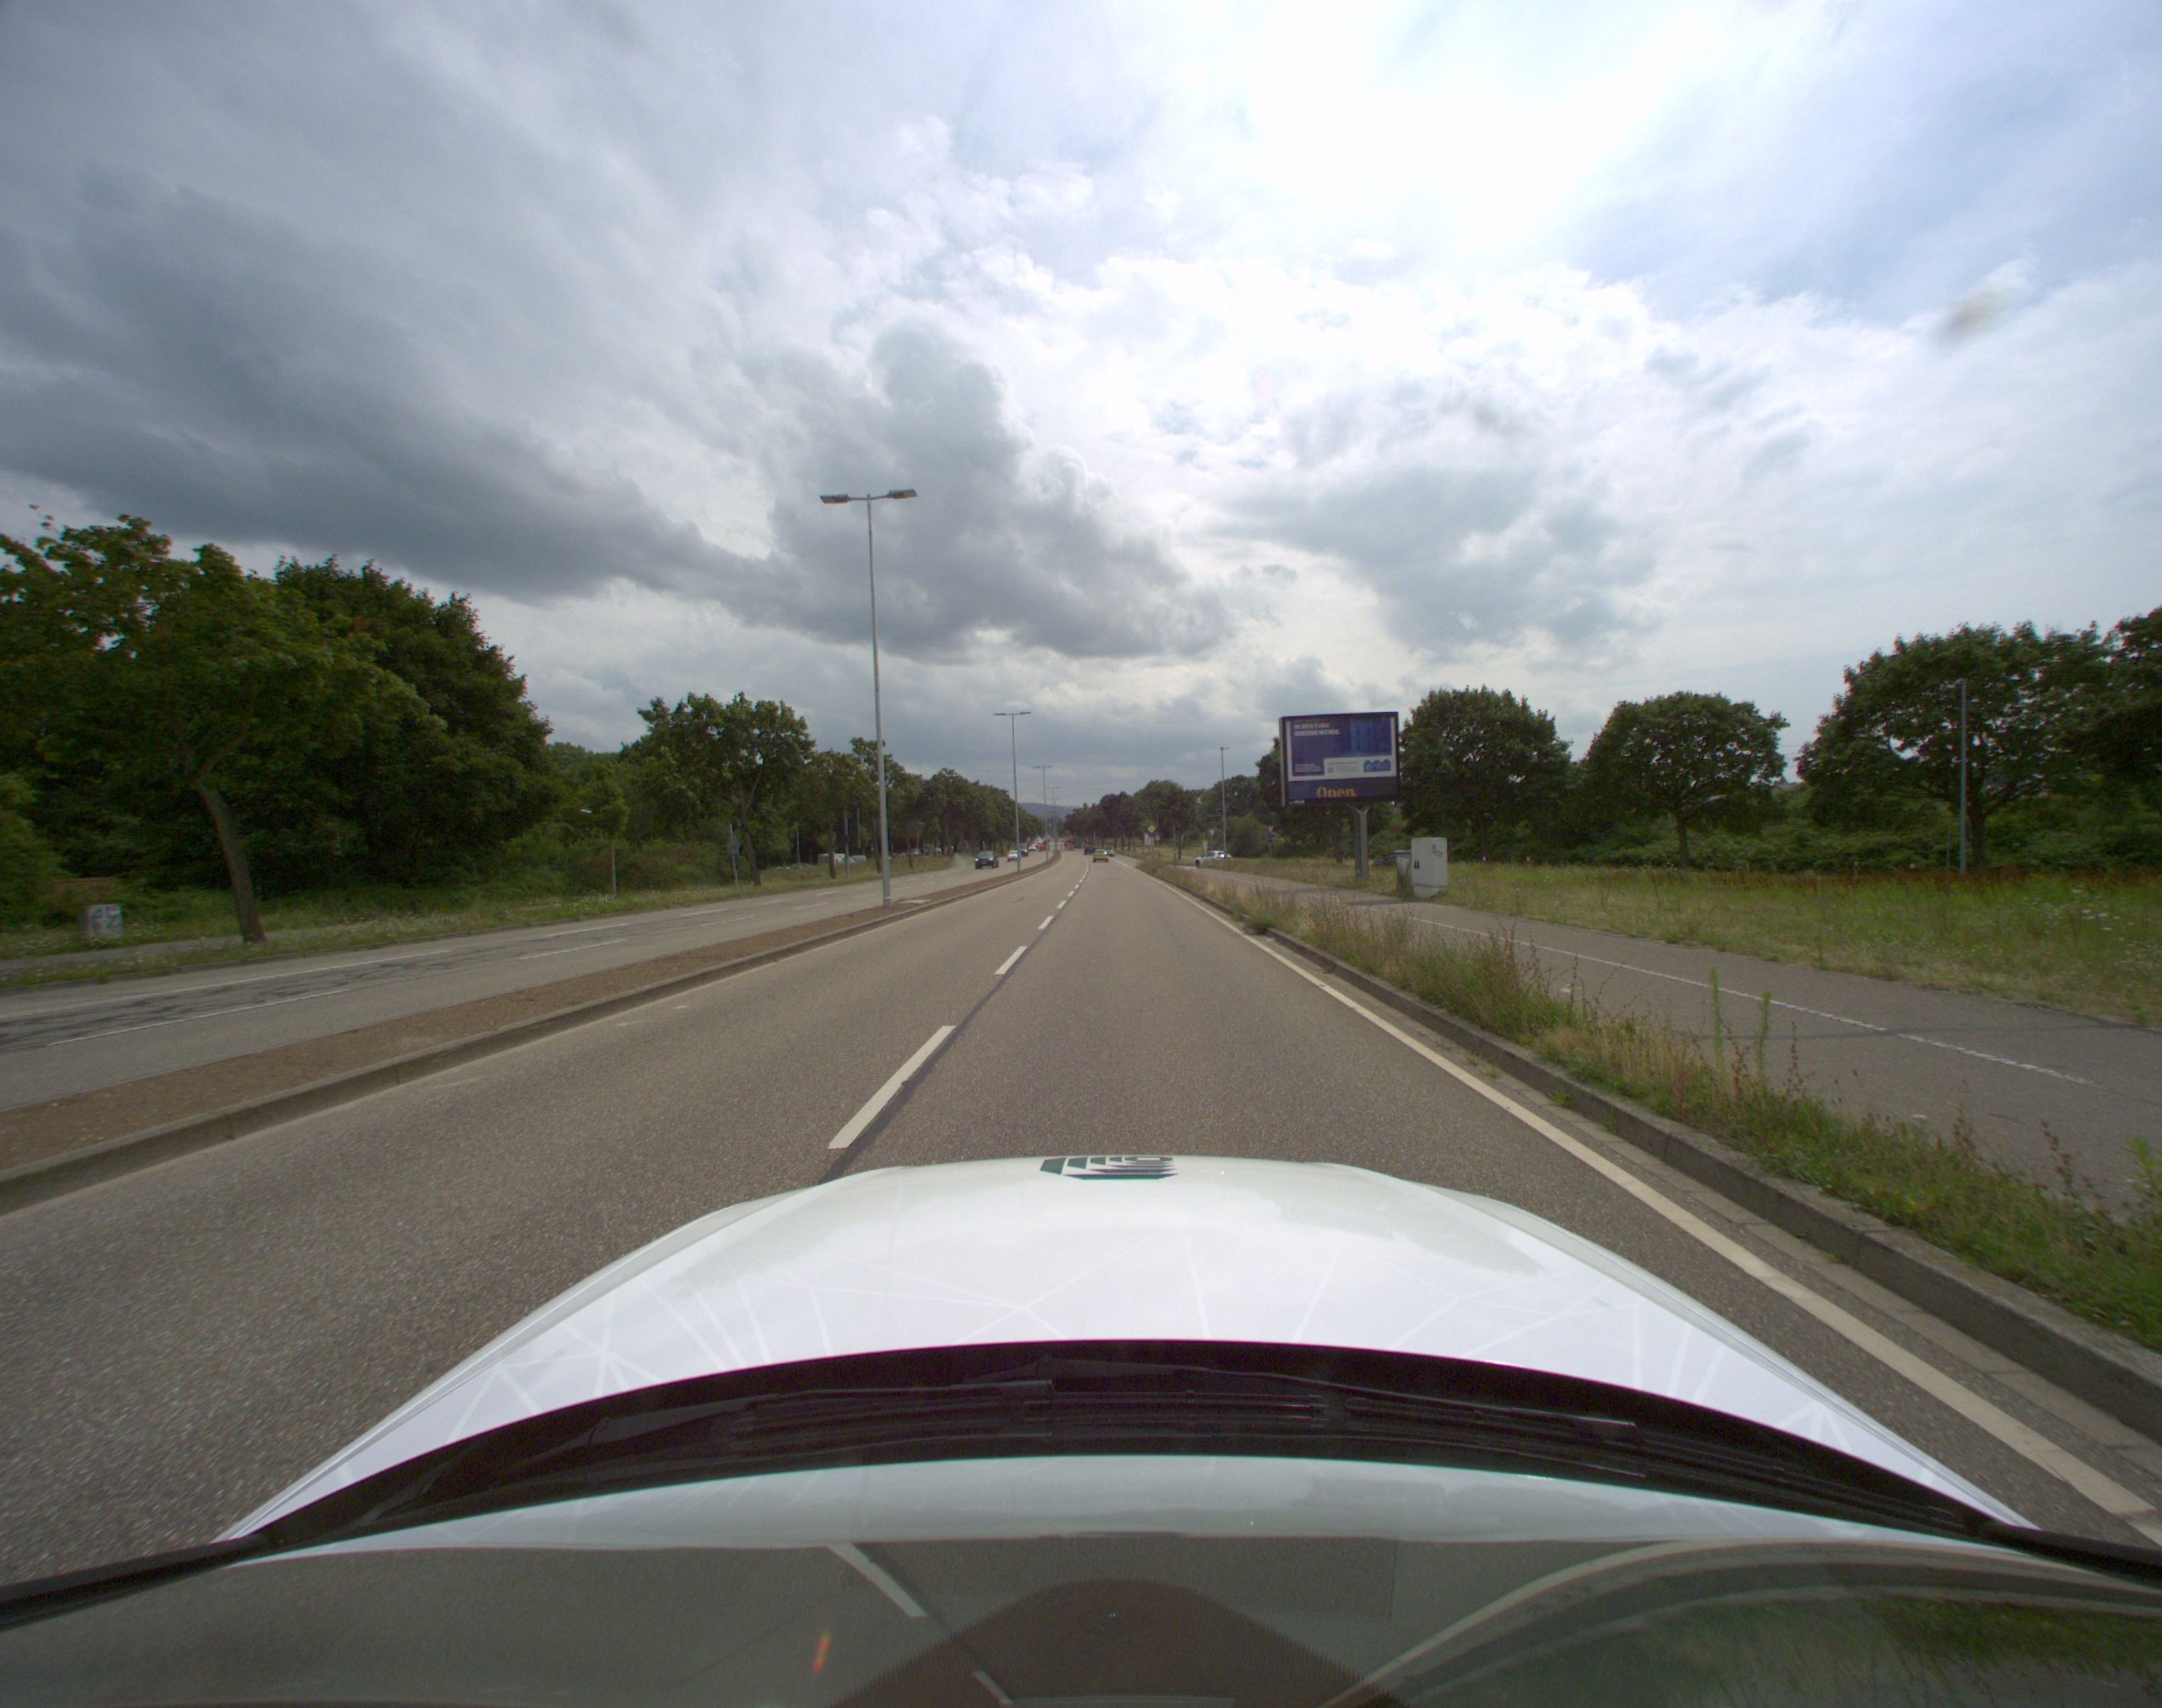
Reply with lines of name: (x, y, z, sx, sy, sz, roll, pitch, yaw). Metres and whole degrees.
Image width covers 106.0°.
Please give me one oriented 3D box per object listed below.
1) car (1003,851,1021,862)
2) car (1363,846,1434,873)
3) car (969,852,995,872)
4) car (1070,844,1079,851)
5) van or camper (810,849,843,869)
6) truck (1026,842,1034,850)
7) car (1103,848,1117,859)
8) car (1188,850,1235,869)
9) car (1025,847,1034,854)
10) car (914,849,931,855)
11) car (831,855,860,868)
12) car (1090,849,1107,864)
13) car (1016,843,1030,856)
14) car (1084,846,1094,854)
car: (-9.929, 0.325, 118.080, 1.986, 1.430, 4.690, -3, 1, 1)
car: (20.156, 0.337, 51.711, 3.949, 1.668, 1.720, 0, 1, 29)
car: (-9.952, 0.760, 82.281, 1.987, 1.811, 4.797, -3, 1, 0)
car: (-1.668, -1.848, 218.180, 2.199, 1.683, 4.001, -2, 1, 1)
van or camper: (-35.433, 0.690, 113.413, 2.464, 2.540, 6.719, -2, 1, -1)
truck: (-14.901, -2.377, 238.045, 2.082, 1.994, 6.037, -3, 1, -1)
car: (4.552, -0.116, 127.030, 2.007, 1.670, 4.000, -2, 1, 0)
car: (10.995, 0.427, 68.796, 1.778, 1.464, 3.961, -2, 2, -31)
car: (-12.642, -0.906, 199.786, 1.711, 1.420, 4.159, -3, 1, 0)
car: (-39.694, -0.553, 204.184, 3.760, 1.425, 1.966, -2, 1, 0)
car: (-36.740, 1.207, 127.135, 3.976, 1.887, 1.938, -2, 1, -2)
car: (2.013, 0.255, 95.284, 1.788, 1.561, 4.000, -2, 1, 0)
car: (-10.430, -0.894, 146.212, 2.089, 2.200, 6.002, -3, 1, -1)
car: (1.328, -0.701, 143.622, 1.662, 1.269, 4.000, -2, 1, 0)
